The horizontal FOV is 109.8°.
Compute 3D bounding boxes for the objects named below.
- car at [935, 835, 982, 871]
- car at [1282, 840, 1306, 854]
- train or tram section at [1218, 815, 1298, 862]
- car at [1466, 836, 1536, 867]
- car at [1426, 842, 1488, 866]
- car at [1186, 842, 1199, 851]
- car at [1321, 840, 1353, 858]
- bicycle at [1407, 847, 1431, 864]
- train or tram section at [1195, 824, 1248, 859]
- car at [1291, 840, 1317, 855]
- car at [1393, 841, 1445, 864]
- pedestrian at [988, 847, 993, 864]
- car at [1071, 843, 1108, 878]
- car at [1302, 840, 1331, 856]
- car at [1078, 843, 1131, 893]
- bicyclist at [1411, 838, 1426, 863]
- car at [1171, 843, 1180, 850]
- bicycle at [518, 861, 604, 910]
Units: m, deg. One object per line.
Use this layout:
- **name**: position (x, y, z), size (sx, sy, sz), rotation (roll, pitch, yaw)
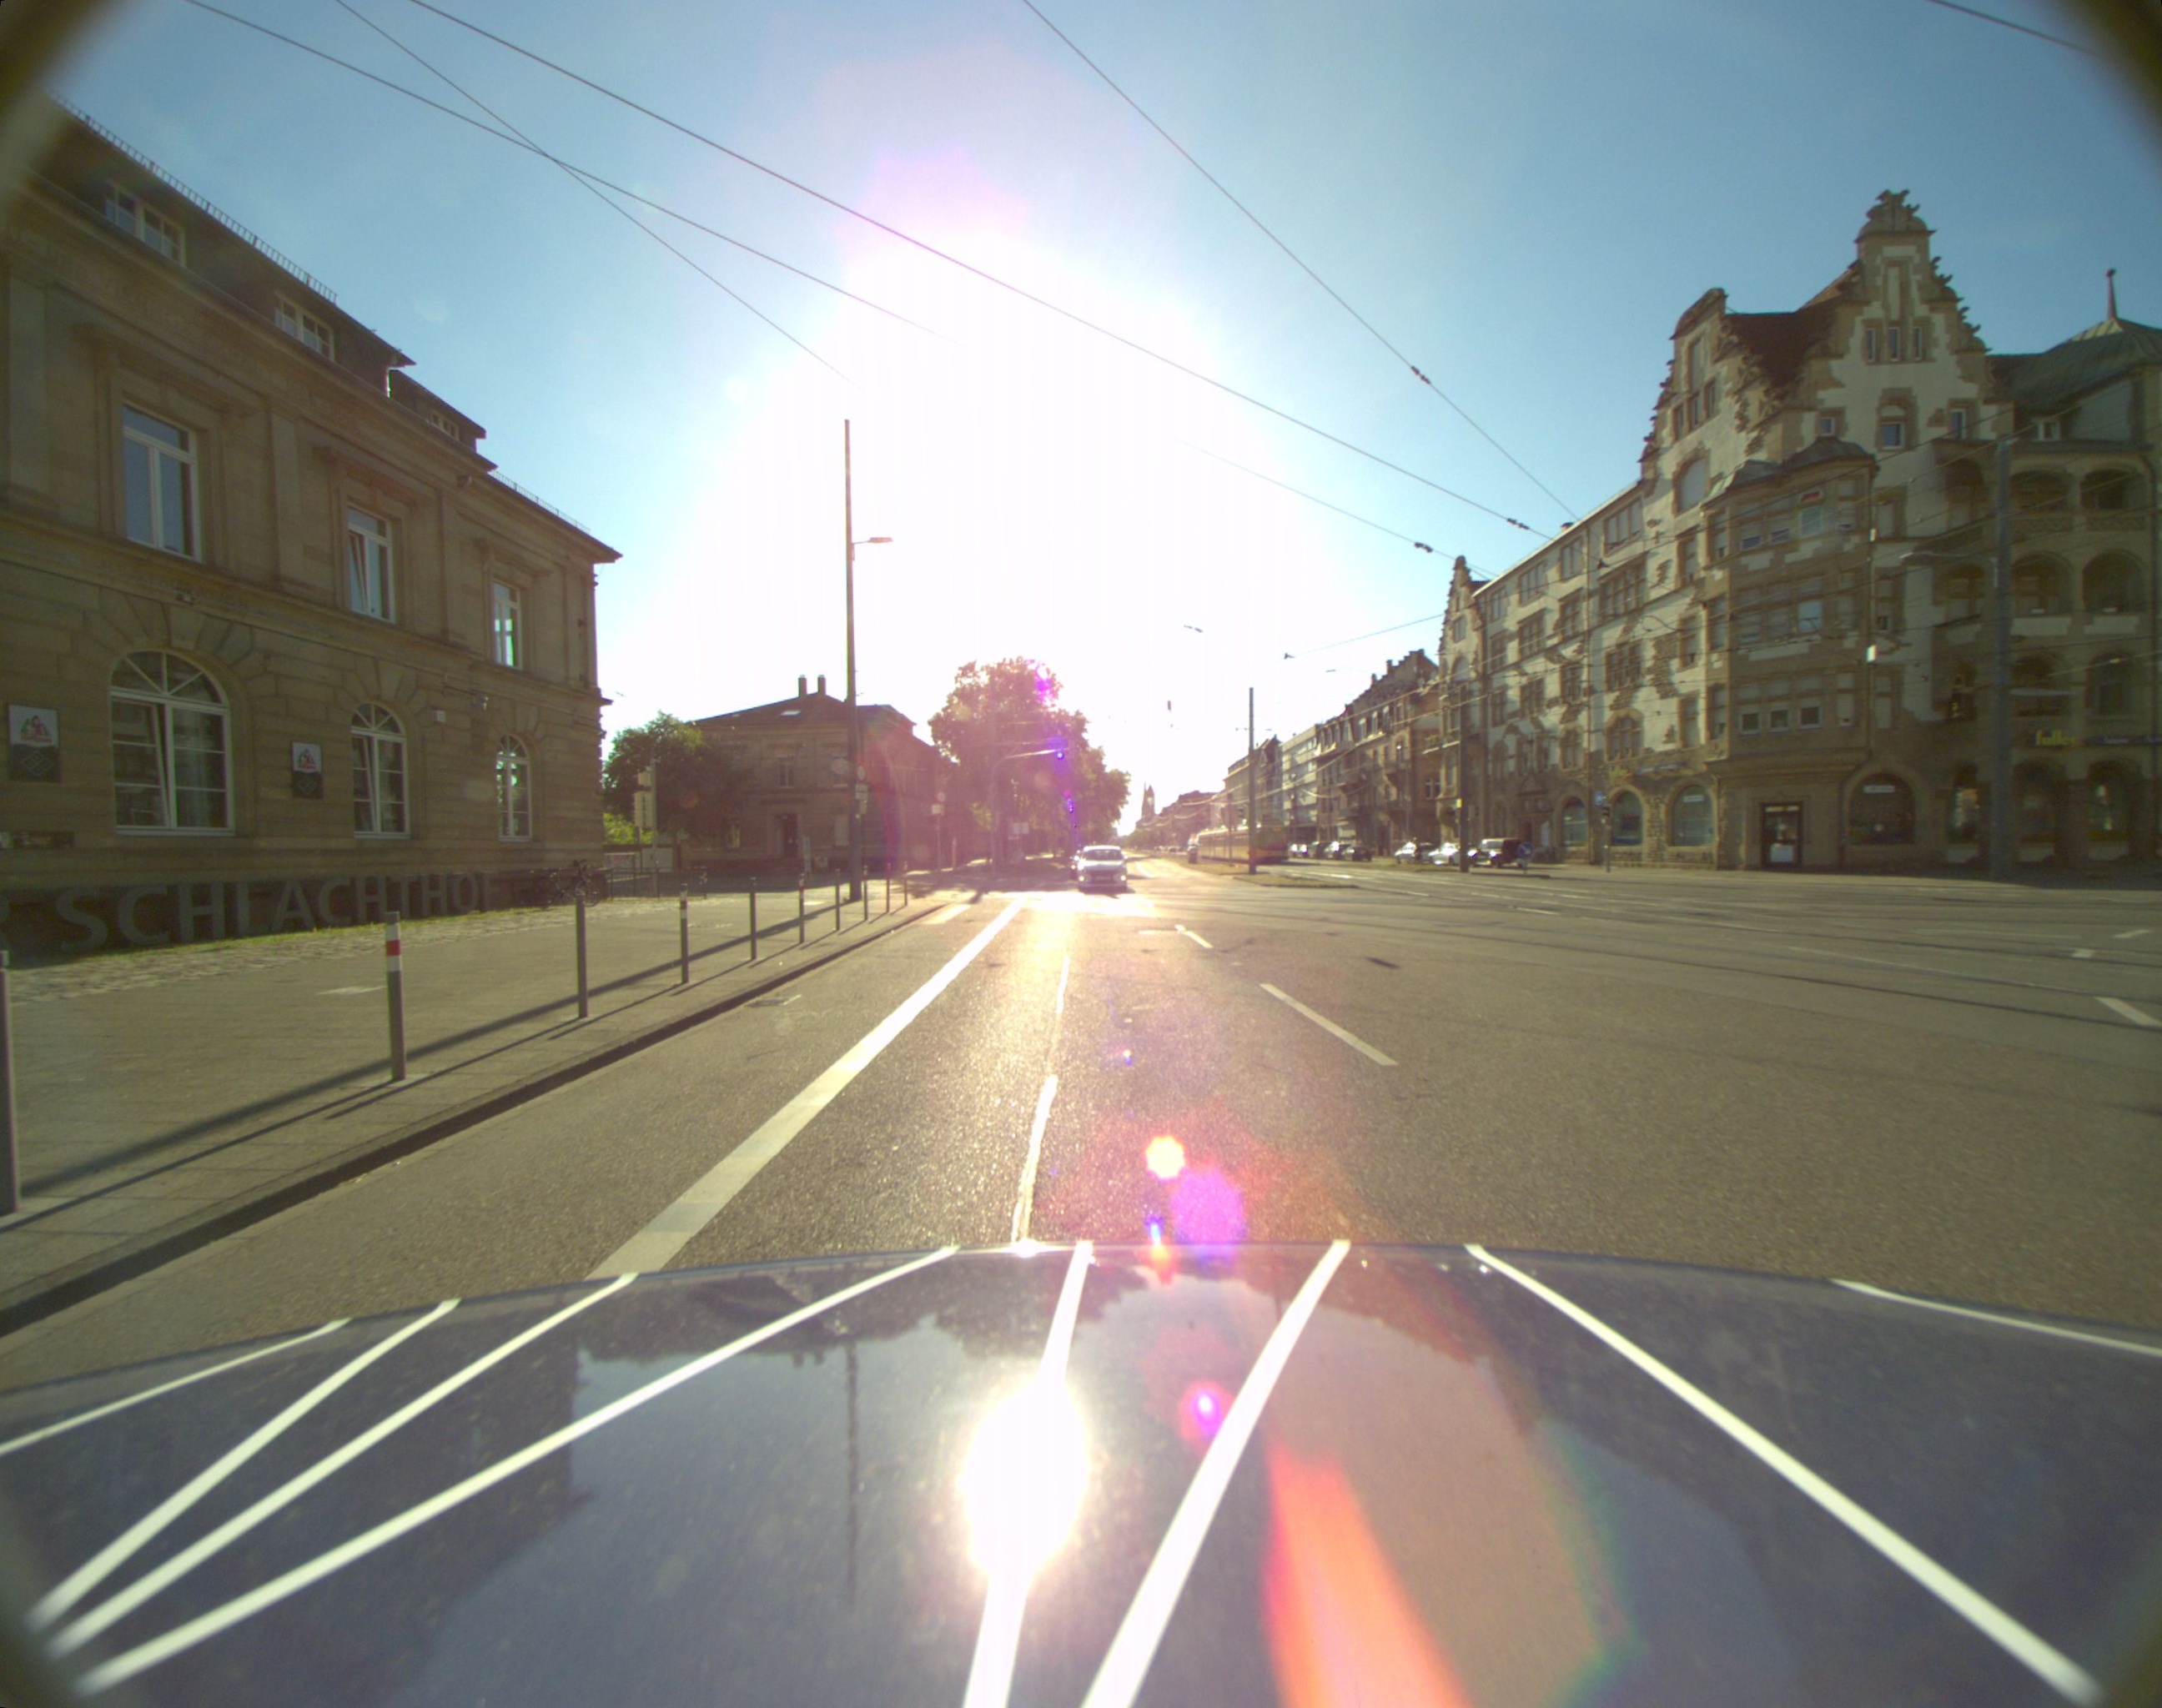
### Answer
- **car**: position (-7.364, -0.080, 46.125), size (1.833, 2.035, 4.000), rotation (-2, 1, 5)
- **car**: position (24.468, -0.854, 87.386), size (1.741, 1.516, 4.000), rotation (-3, 1, 1)
- **train or tram section**: position (14.933, -1.194, 66.221), size (2.781, 3.379, 19.474), rotation (-2, 0, 1)
- **car**: position (24.026, -0.172, 43.594), size (1.780, 1.660, 3.999), rotation (-1, 1, 0)
- **car**: position (24.093, -0.037, 48.843), size (1.727, 1.467, 4.432), rotation (-1, 1, -1)
- **car**: position (20.725, -1.405, 141.671), size (1.780, 1.660, 3.999), rotation (-1, 1, 0)
- **car**: position (23.998, -0.482, 71.346), size (1.741, 1.516, 4.000), rotation (-3, 1, 1)
- **bicycle**: position (21.691, 0.086, 48.846), size (0.607, 0.996, 2.068), rotation (-1, 1, -1)
- **train or tram section**: position (15.470, -1.457, 85.674), size (2.781, 3.379, 19.471), rotation (-2, 1, 1)
- **car**: position (24.260, -0.745, 82.792), size (1.741, 1.516, 4.000), rotation (-3, 1, 1)
- **car**: position (24.073, -0.103, 54.245), size (1.741, 1.516, 3.998), rotation (-3, 1, -3)
- **pedestrian**: position (-8.514, 0.129, 71.370), size (0.364, 1.635, 0.390), rotation (-1, 1, 2)
- **car**: position (0.447, 0.268, 36.856), size (1.649, 1.555, 3.666), rotation (-2, 1, 1)
- **car**: position (23.992, -0.619, 77.503), size (1.741, 1.516, 4.000), rotation (-3, 1, 1)
- **car**: position (0.805, 0.434, 26.322), size (1.649, 1.555, 3.666), rotation (-2, 1, 1)
- **bicyclist**: position (21.666, -0.236, 48.840), size (0.683, 1.609, 0.630), rotation (-1, 1, 0)
- **car**: position (23.061, -1.730, 185.637), size (1.780, 1.660, 3.999), rotation (-1, 1, 0)
- **bicycle**: position (-12.942, 0.772, 18.941), size (1.650, 1.174, 0.690), rotation (0, 1, -1)
